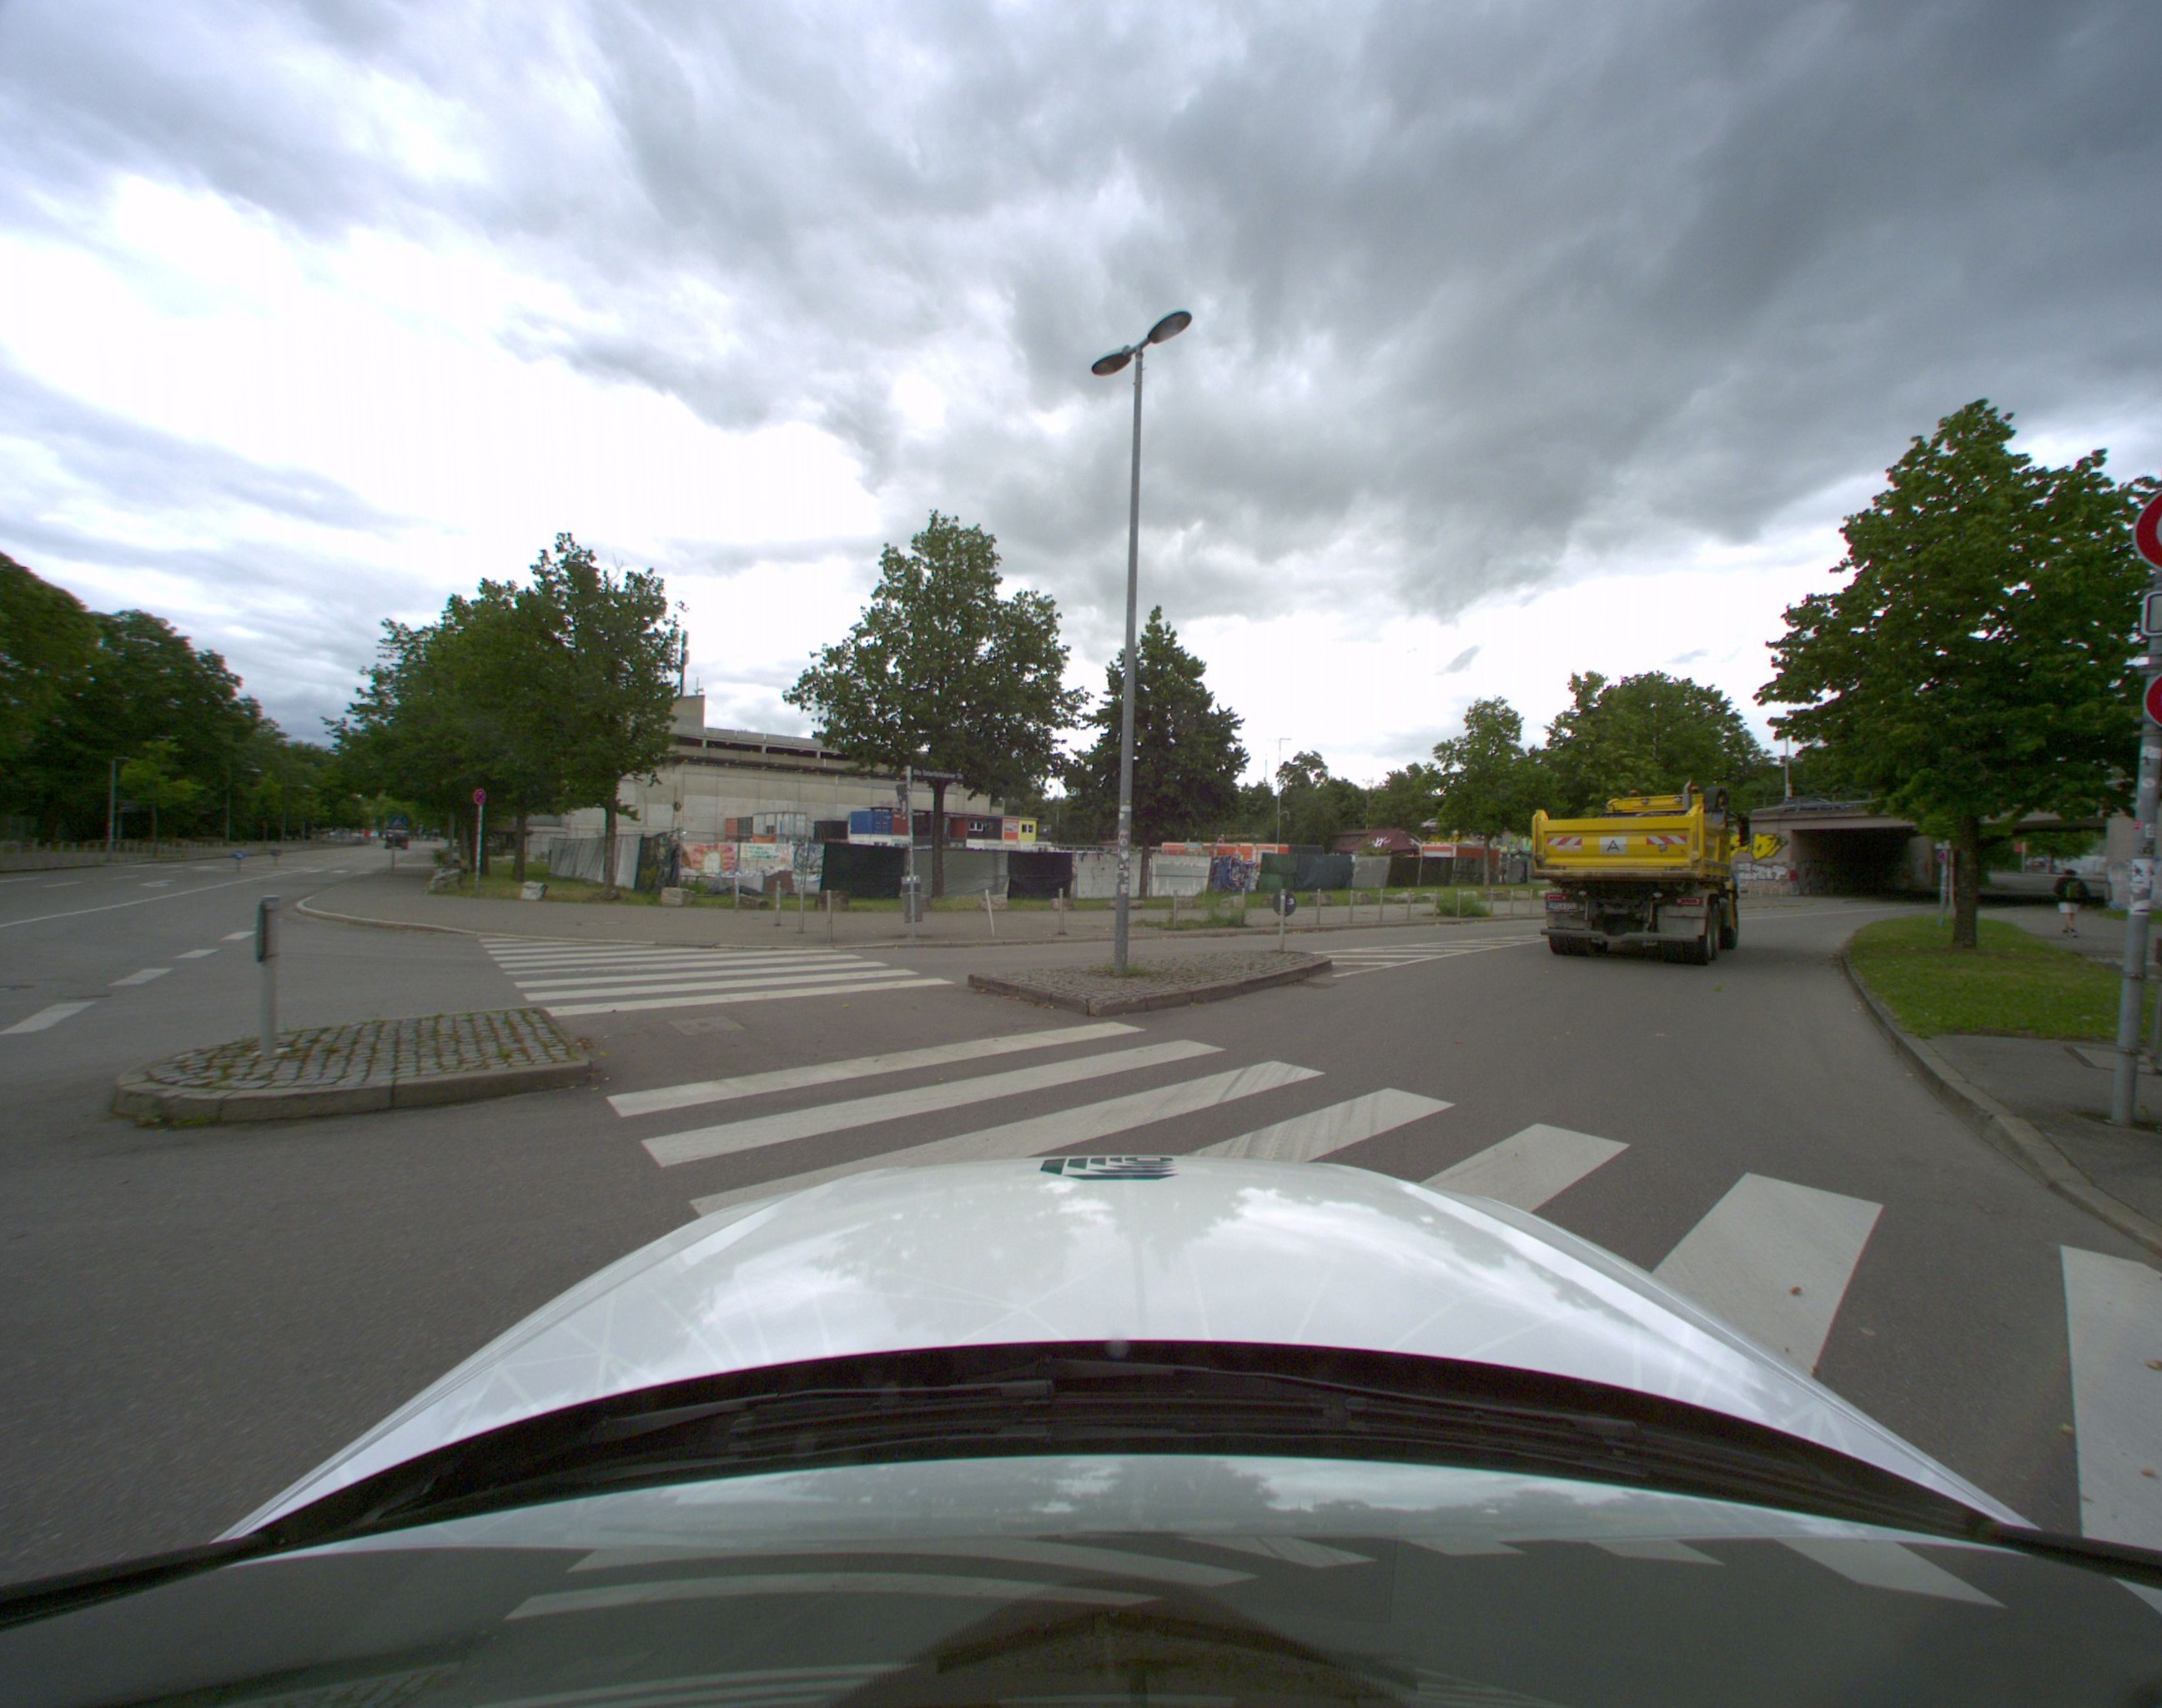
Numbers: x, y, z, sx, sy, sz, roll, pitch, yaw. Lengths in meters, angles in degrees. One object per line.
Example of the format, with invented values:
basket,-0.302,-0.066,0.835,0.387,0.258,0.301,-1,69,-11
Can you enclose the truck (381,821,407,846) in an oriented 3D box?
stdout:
truck,-103.250,-3.039,122.415,2.695,3.558,7.832,-2,1,-39

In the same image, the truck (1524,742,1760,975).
truck,11.827,0.095,16.758,2.732,3.698,7.926,1,0,44

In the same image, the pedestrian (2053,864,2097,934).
pedestrian,27.940,1.248,22.905,0.830,1.907,0.728,1,0,-43
